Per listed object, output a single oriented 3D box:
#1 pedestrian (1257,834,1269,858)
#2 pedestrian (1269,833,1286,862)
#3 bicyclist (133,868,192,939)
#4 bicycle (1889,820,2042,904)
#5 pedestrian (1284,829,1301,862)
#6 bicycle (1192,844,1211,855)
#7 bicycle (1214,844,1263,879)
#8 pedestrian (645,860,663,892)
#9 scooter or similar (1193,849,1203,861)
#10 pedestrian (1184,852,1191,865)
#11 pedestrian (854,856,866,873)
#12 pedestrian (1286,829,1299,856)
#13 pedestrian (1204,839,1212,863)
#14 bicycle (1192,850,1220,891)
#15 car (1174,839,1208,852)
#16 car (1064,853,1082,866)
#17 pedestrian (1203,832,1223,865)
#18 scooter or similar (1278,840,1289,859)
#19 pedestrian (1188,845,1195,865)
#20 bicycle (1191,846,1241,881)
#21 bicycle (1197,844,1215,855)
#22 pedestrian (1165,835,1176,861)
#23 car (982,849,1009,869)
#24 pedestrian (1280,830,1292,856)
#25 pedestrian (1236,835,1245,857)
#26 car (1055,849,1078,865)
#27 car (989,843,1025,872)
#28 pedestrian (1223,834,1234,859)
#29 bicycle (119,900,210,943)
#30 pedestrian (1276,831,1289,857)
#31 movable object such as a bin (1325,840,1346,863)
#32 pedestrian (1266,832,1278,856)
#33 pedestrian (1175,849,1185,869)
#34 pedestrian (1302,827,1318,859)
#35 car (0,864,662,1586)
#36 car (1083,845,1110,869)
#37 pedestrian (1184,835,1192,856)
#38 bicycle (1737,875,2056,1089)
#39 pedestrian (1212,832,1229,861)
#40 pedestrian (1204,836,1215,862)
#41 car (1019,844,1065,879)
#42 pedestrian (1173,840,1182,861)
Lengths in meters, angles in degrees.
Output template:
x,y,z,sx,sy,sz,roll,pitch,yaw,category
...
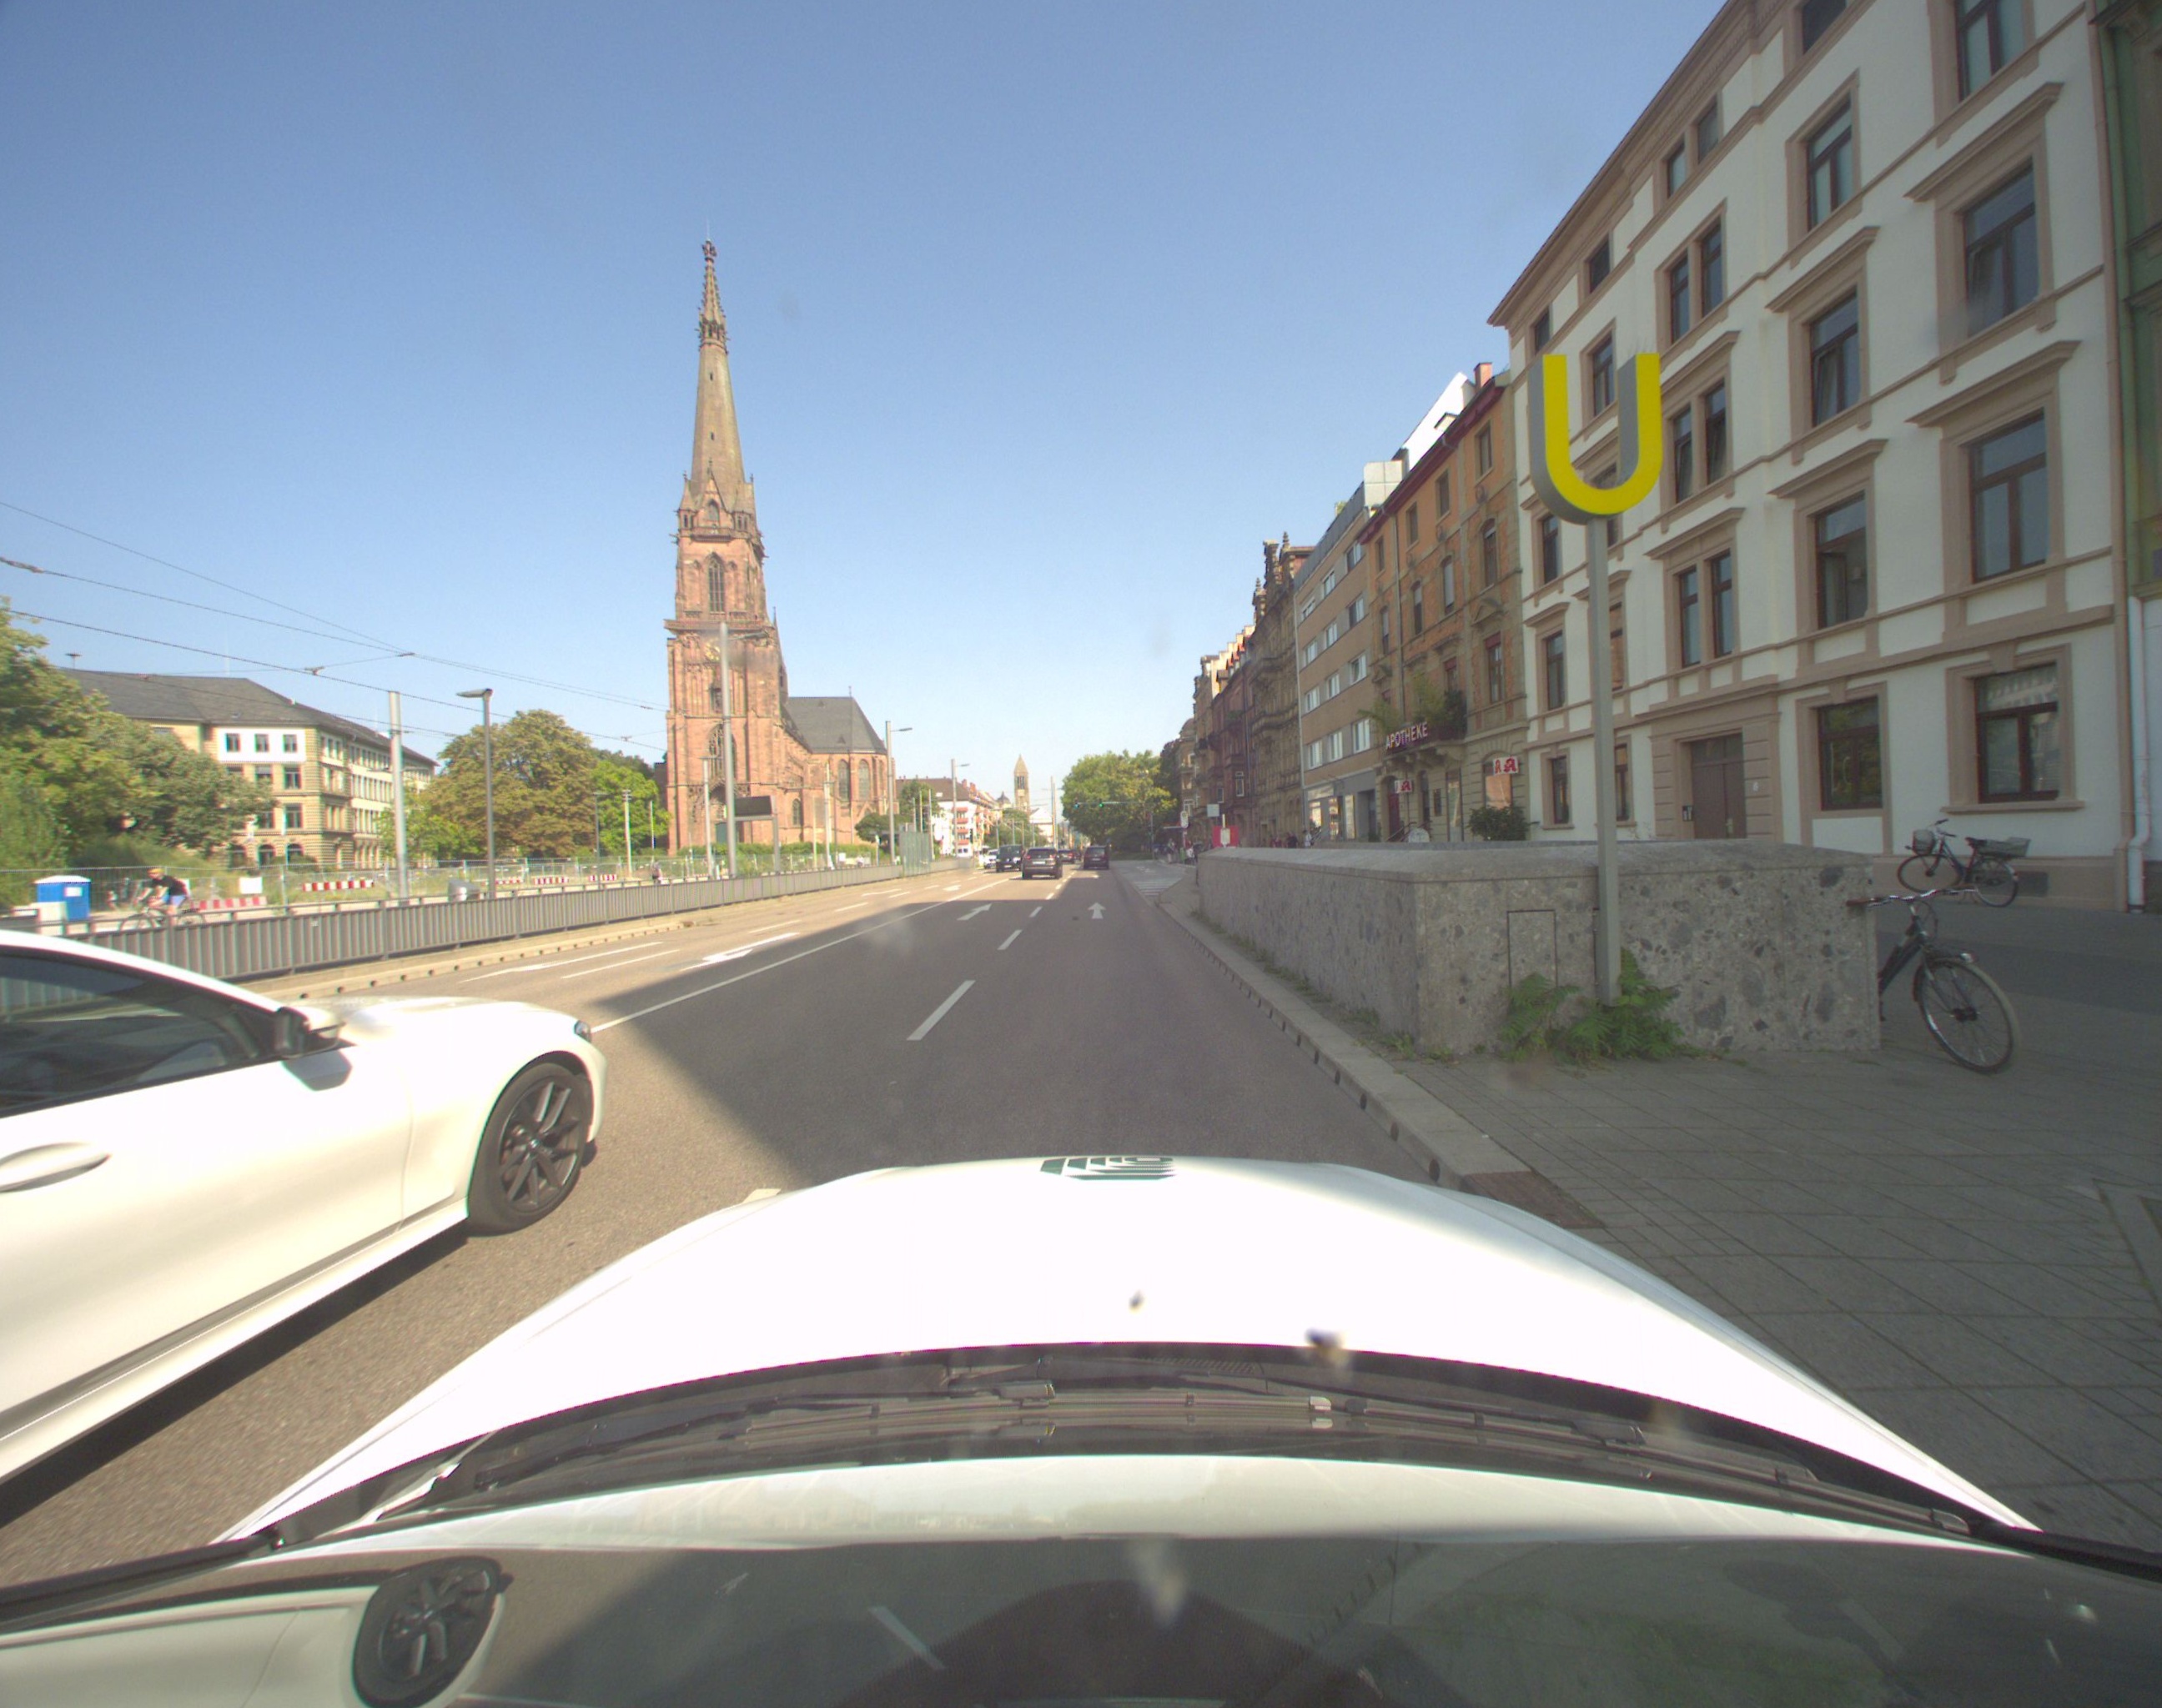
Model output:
x,y,z,sx,sy,sz,roll,pitch,yaw,category
13.342,-0.594,59.656,0.627,1.719,0.691,-2,0,1,pedestrian
11.015,-0.380,45.779,0.717,1.610,0.856,-2,0,2,pedestrian
-23.450,1.253,20.799,0.485,1.747,0.819,-3,0,2,bicyclist
12.872,0.101,11.922,0.382,1.134,1.720,-3,1,2,bicycle
11.803,-0.478,45.444,0.717,1.787,0.856,-2,0,2,pedestrian
13.252,-0.481,89.747,1.925,1.048,0.499,-3,0,-5,bicycle
5.619,0.260,29.086,1.626,1.148,0.602,-3,0,3,bicycle
-23.326,1.176,44.487,0.515,1.700,0.664,-2,0,0,pedestrian
8.008,0.061,55.520,0.563,0.741,0.514,-3,1,-2,scooter or similar
7.025,0.275,53.664,0.302,0.820,0.603,-3,1,-6,pedestrian
-21.850,1.043,80.483,0.907,1.679,0.606,-2,0,32,pedestrian
13.708,-0.735,52.794,0.602,1.731,0.510,-3,0,-2,pedestrian
9.178,-0.241,58.692,0.340,1.732,0.805,-3,1,-2,pedestrian
3.662,0.461,23.922,0.406,1.148,1.653,-3,0,-4,bicycle
14.779,-1.087,109.202,4.171,1.563,1.998,-3,1,-4,car
-0.915,0.607,93.931,1.857,1.424,4.359,-1,1,1,car
7.411,-0.305,45.768,0.923,1.831,0.800,-3,1,-2,pedestrian
12.847,-0.312,51.616,0.359,1.163,1.152,-3,1,-1,scooter or similar
7.135,0.038,52.503,0.275,1.274,0.447,-3,0,-6,pedestrian
4.723,0.319,28.426,1.629,1.148,0.385,-3,0,-4,bicycle
13.906,-0.511,90.692,1.925,1.048,0.499,-3,0,-5,bicycle
6.114,-0.409,55.574,0.563,1.728,0.745,-3,1,-2,pedestrian
-7.475,0.423,71.357,1.707,1.611,4.506,-4,1,1,car
13.547,-0.714,53.774,0.602,1.691,0.586,-3,0,-2,pedestrian
11.758,-0.566,59.937,0.484,1.610,0.813,-2,0,2,pedestrian
-1.331,0.236,76.245,1.857,1.424,4.359,-1,1,1,car
-5.360,0.230,59.476,1.987,1.904,4.717,-4,1,1,car
10.846,-0.563,59.911,0.614,1.804,1.072,-2,0,2,pedestrian
-23.505,1.712,20.926,0.349,0.954,1.696,-3,1,2,bicycle
13.479,-0.659,54.464,0.602,1.691,0.586,-3,0,-2,pedestrian
12.808,-0.123,40.961,0.738,1.080,0.666,-3,1,-16,movable object such as a bin
13.256,-0.672,56.425,0.602,1.654,0.586,-3,0,-2,pedestrian
6.772,0.335,55.702,0.563,1.277,0.596,-3,1,-3,pedestrian
13.127,-0.637,46.715,0.602,1.831,0.742,-3,0,-2,pedestrian
-3.143,0.804,1.870,1.802,1.427,4.776,0,1,1,car
1.133,0.207,58.841,1.825,1.621,4.359,-1,1,1,car
9.148,-0.722,69.499,0.480,1.702,0.702,-3,0,-2,pedestrian
5.368,0.755,5.534,0.382,1.134,1.791,-3,1,2,bicycle
8.469,-0.472,49.453,0.747,1.728,0.800,-3,1,-2,pedestrian
8.736,-0.313,55.398,0.563,1.728,0.617,-3,0,-2,pedestrian
-1.921,0.327,41.230,1.986,1.621,4.359,-1,1,1,car
7.451,-0.268,63.207,0.526,1.612,0.702,-3,1,-2,pedestrian
